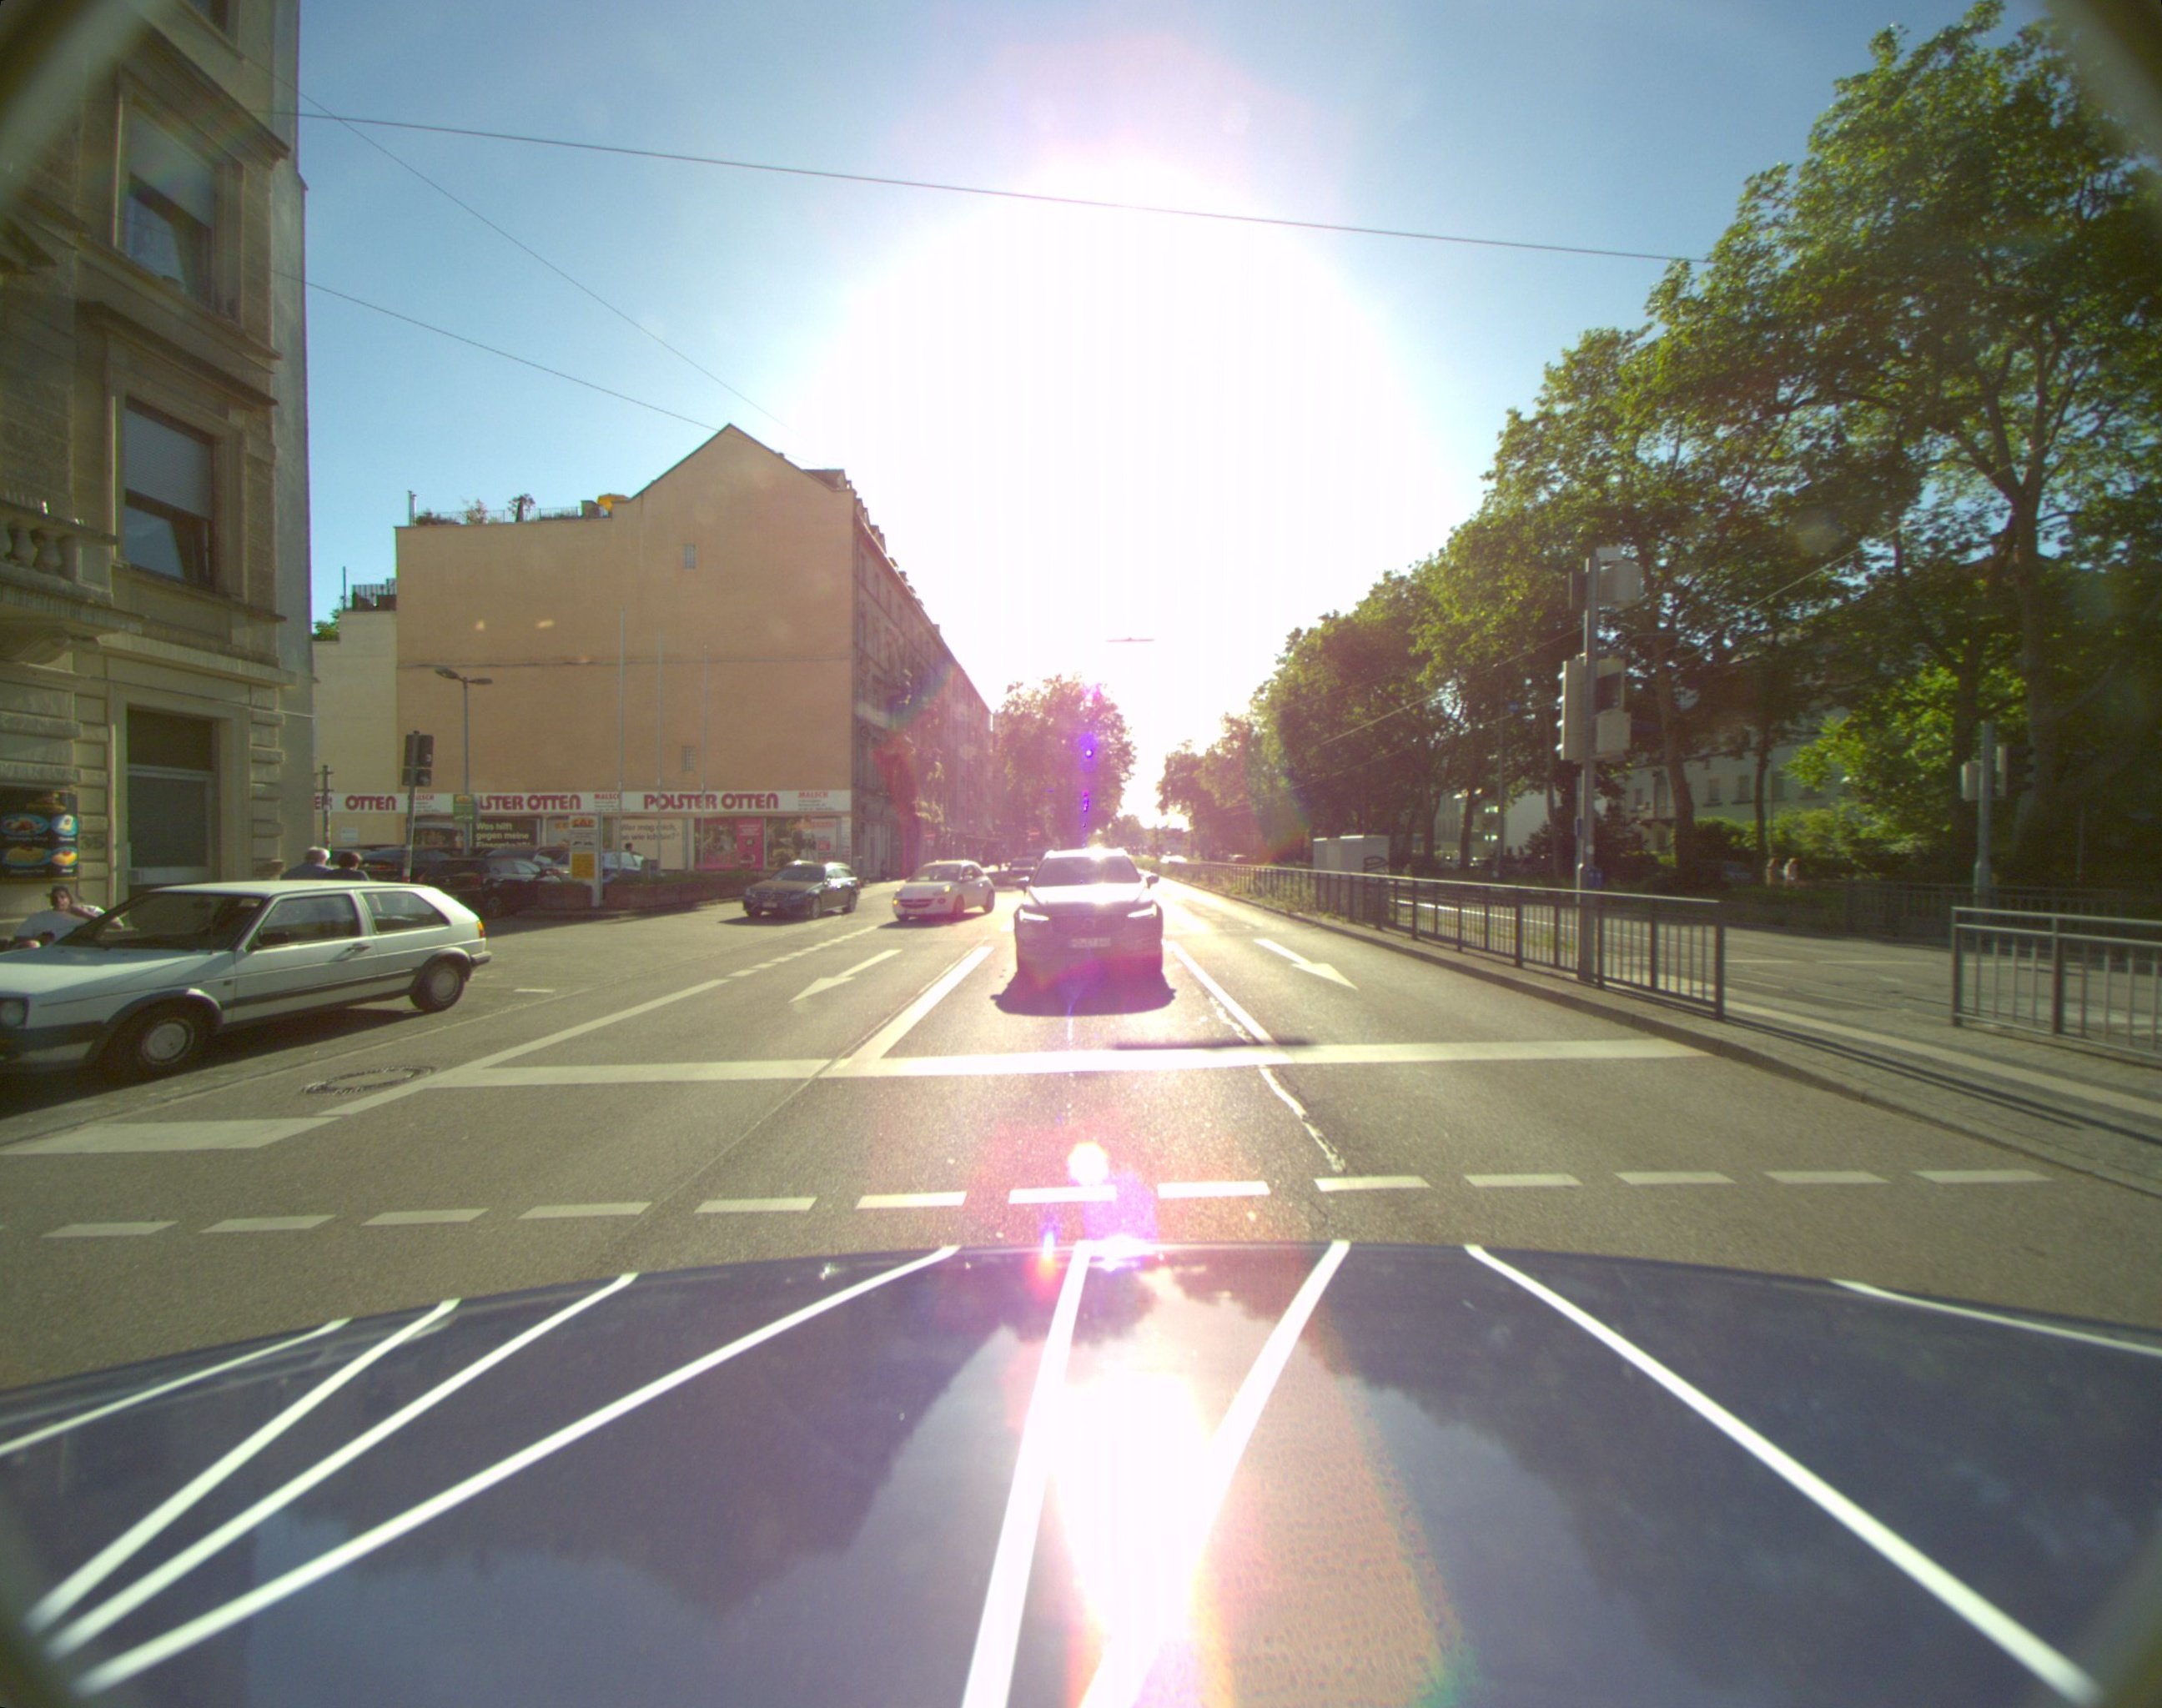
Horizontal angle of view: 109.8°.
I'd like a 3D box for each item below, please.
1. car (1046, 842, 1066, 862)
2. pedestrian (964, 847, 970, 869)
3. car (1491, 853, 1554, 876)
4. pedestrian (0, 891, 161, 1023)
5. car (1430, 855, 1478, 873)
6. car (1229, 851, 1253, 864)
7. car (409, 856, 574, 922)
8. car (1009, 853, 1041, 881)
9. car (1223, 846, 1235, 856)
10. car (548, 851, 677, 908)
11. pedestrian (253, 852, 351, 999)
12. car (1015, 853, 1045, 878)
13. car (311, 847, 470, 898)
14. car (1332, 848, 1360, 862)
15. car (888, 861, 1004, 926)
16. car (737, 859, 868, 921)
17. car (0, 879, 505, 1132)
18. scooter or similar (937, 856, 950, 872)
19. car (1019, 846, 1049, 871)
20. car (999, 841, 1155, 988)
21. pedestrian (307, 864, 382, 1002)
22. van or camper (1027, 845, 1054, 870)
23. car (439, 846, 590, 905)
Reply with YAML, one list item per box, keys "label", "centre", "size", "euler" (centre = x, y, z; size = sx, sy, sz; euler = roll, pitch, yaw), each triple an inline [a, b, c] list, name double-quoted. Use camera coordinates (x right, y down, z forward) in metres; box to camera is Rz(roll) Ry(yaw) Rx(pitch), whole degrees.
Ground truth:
- label: "car"
  centre: [-3.101, -0.235, 95.065]
  size: [2.079, 2.420, 5.856]
  euler: [-1, 0, 2]
- label: "pedestrian"
  centre: [-9.662, 0.321, 64.439]
  size: [0.470, 1.822, 0.516]
  euler: [0, 1, 1]
- label: "car"
  centre: [29.109, 0.682, 50.245]
  size: [1.739, 1.432, 4.318]
  euler: [0, 0, 2]
- label: "pedestrian"
  centre: [-10.510, 1.057, 7.964]
  size: [0.903, 1.274, 0.655]
  euler: [2, 1, -4]
- label: "car"
  centre: [29.219, 0.748, 59.653]
  size: [1.644, 1.316, 4.461]
  euler: [2, 1, 2]
- label: "car"
  centre: [18.420, 0.361, 87.671]
  size: [1.688, 1.490, 4.342]
  euler: [0, 0, -2]
- label: "car"
  centre: [-14.433, 0.792, 18.848]
  size: [1.562, 1.477, 3.394]
  euler: [0, 0, -3]
- label: "car"
  centre: [-3.389, 0.770, 46.766]
  size: [1.645, 1.509, 3.999]
  euler: [-3, 1, -1]
- label: "car"
  centre: [29.978, -0.581, 154.187]
  size: [1.998, 2.002, 4.002]
  euler: [-3, 0, 6]
- label: "car"
  centre: [-14.737, 0.748, 24.181]
  size: [1.749, 1.635, 3.998]
  euler: [0, 1, -3]
- label: "pedestrian"
  centre: [-9.926, 0.887, 9.696]
  size: [0.674, 1.796, 0.530]
  euler: [2, 1, 1]
- label: "car"
  centre: [-3.375, 0.713, 51.216]
  size: [1.743, 1.509, 3.999]
  euler: [-3, 1, -1]
- label: "car"
  centre: [-22.122, 0.534, 24.569]
  size: [1.545, 1.535, 3.937]
  euler: [0, 1, 0]
- label: "car"
  centre: [29.628, 0.090, 85.163]
  size: [1.801, 1.464, 4.000]
  euler: [-1, 0, 1]
- label: "car"
  centre: [-3.524, 0.987, 20.533]
  size: [1.605, 1.446, 3.785]
  euler: [-2, 1, 15]
- label: "car"
  centre: [-7.831, 0.940, 21.922]
  size: [1.837, 1.478, 4.734]
  euler: [3, 1, 2]
- label: "car"
  centre: [-7.619, 1.048, 6.942]
  size: [1.566, 1.407, 4.004]
  euler: [3, 0, 1]
- label: "scooter or similar"
  centre: [-10.268, 0.734, 56.743]
  size: [0.638, 1.167, 1.731]
  euler: [0, 1, -23]
- label: "car"
  centre: [-3.422, 0.306, 56.441]
  size: [1.868, 1.753, 4.000]
  euler: [0, 1, 2]
- label: "car"
  centre: [0.033, 0.730, 11.608]
  size: [1.876, 1.788, 4.633]
  euler: [-1, 0, 2]
- label: "pedestrian"
  centre: [-9.254, 0.976, 9.559]
  size: [0.551, 1.698, 0.388]
  euler: [0, 1, 4]
- label: "van or camper"
  centre: [-3.273, 0.241, 61.964]
  size: [1.888, 2.002, 5.094]
  euler: [0, 1, 0]
- label: "car"
  centre: [-17.344, 0.583, 23.530]
  size: [1.749, 1.683, 3.999]
  euler: [0, 1, -2]
